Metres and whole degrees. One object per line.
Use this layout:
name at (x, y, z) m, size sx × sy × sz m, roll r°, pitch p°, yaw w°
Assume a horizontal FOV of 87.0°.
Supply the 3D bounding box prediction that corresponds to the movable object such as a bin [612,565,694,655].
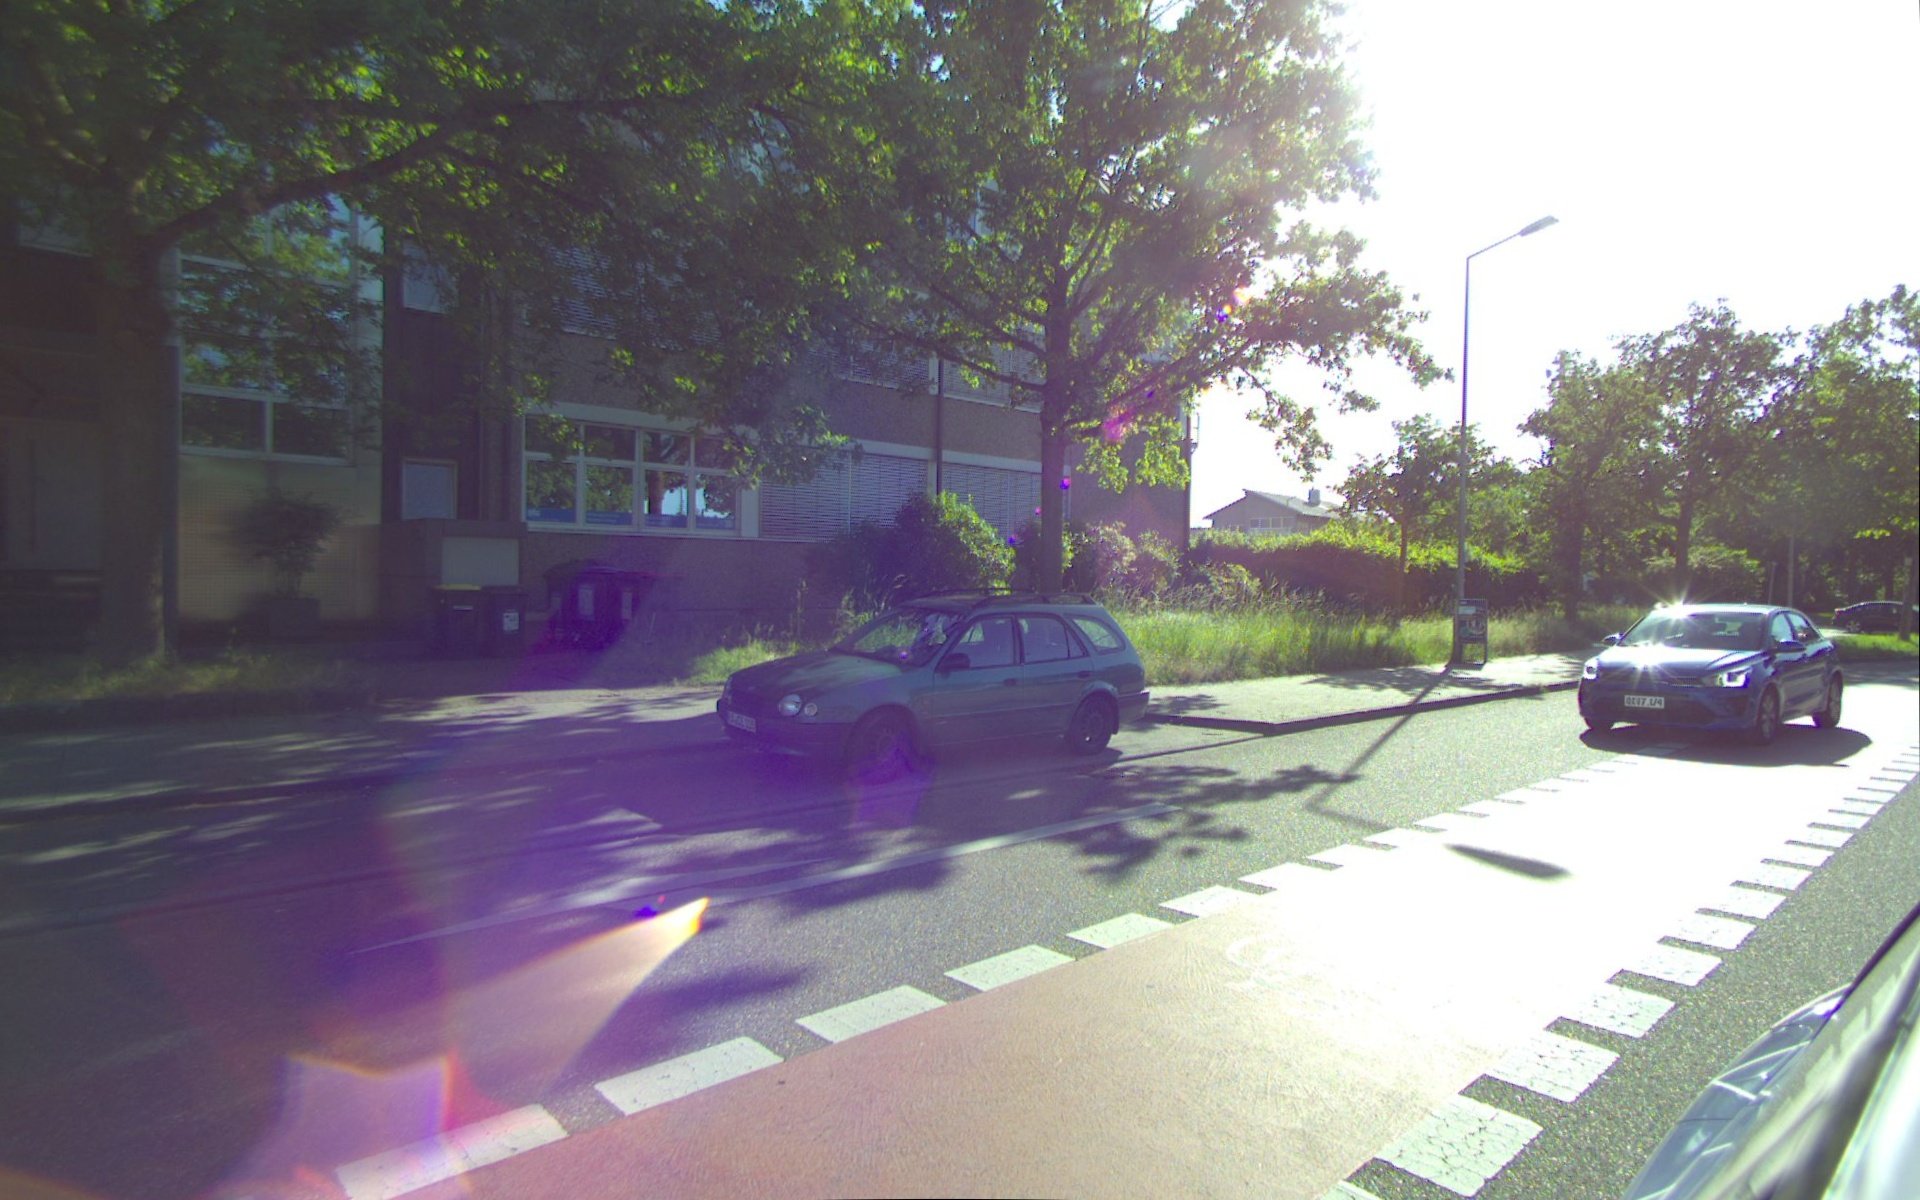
movable object such as a bin at (-4.789, 0.126, 15.769) m, size 0.878 × 1.323 × 1.186 m, roll 0°, pitch 2°, yaw -37°

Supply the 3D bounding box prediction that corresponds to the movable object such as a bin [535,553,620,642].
movable object such as a bin at (-6.789, -0.072, 17.936) m, size 1.024 × 1.501 × 1.309 m, roll 0°, pitch 2°, yaw -41°

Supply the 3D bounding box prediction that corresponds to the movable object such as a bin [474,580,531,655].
movable object such as a bin at (-6.767, 0.241, 14.973) m, size 0.604 × 1.075 × 0.634 m, roll 0°, pitch 1°, yaw -42°

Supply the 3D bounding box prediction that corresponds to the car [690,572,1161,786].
car at (-0.153, 0.573, 9.128) m, size 4.068 × 1.487 × 1.705 m, roll 1°, pitch 1°, yaw -41°

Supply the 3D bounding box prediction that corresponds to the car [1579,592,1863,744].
car at (8.932, 0.658, 11.786) m, size 3.868 × 1.487 × 1.654 m, roll 0°, pitch 0°, yaw -37°

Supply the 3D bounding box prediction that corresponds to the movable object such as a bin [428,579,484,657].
movable object such as a bin at (-7.223, 0.246, 14.492) m, size 0.575 × 1.070 × 0.625 m, roll 0°, pitch 1°, yaw -42°

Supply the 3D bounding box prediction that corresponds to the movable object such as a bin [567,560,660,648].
movable object such as a bin at (-5.780, 0.044, 16.856) m, size 1.070 × 1.388 × 1.186 m, roll 0°, pitch 2°, yaw -43°

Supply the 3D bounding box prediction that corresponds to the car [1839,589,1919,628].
car at (40.726, 0.365, 43.150) m, size 1.859 × 1.538 × 4.494 m, roll 0°, pitch 2°, yaw -30°
